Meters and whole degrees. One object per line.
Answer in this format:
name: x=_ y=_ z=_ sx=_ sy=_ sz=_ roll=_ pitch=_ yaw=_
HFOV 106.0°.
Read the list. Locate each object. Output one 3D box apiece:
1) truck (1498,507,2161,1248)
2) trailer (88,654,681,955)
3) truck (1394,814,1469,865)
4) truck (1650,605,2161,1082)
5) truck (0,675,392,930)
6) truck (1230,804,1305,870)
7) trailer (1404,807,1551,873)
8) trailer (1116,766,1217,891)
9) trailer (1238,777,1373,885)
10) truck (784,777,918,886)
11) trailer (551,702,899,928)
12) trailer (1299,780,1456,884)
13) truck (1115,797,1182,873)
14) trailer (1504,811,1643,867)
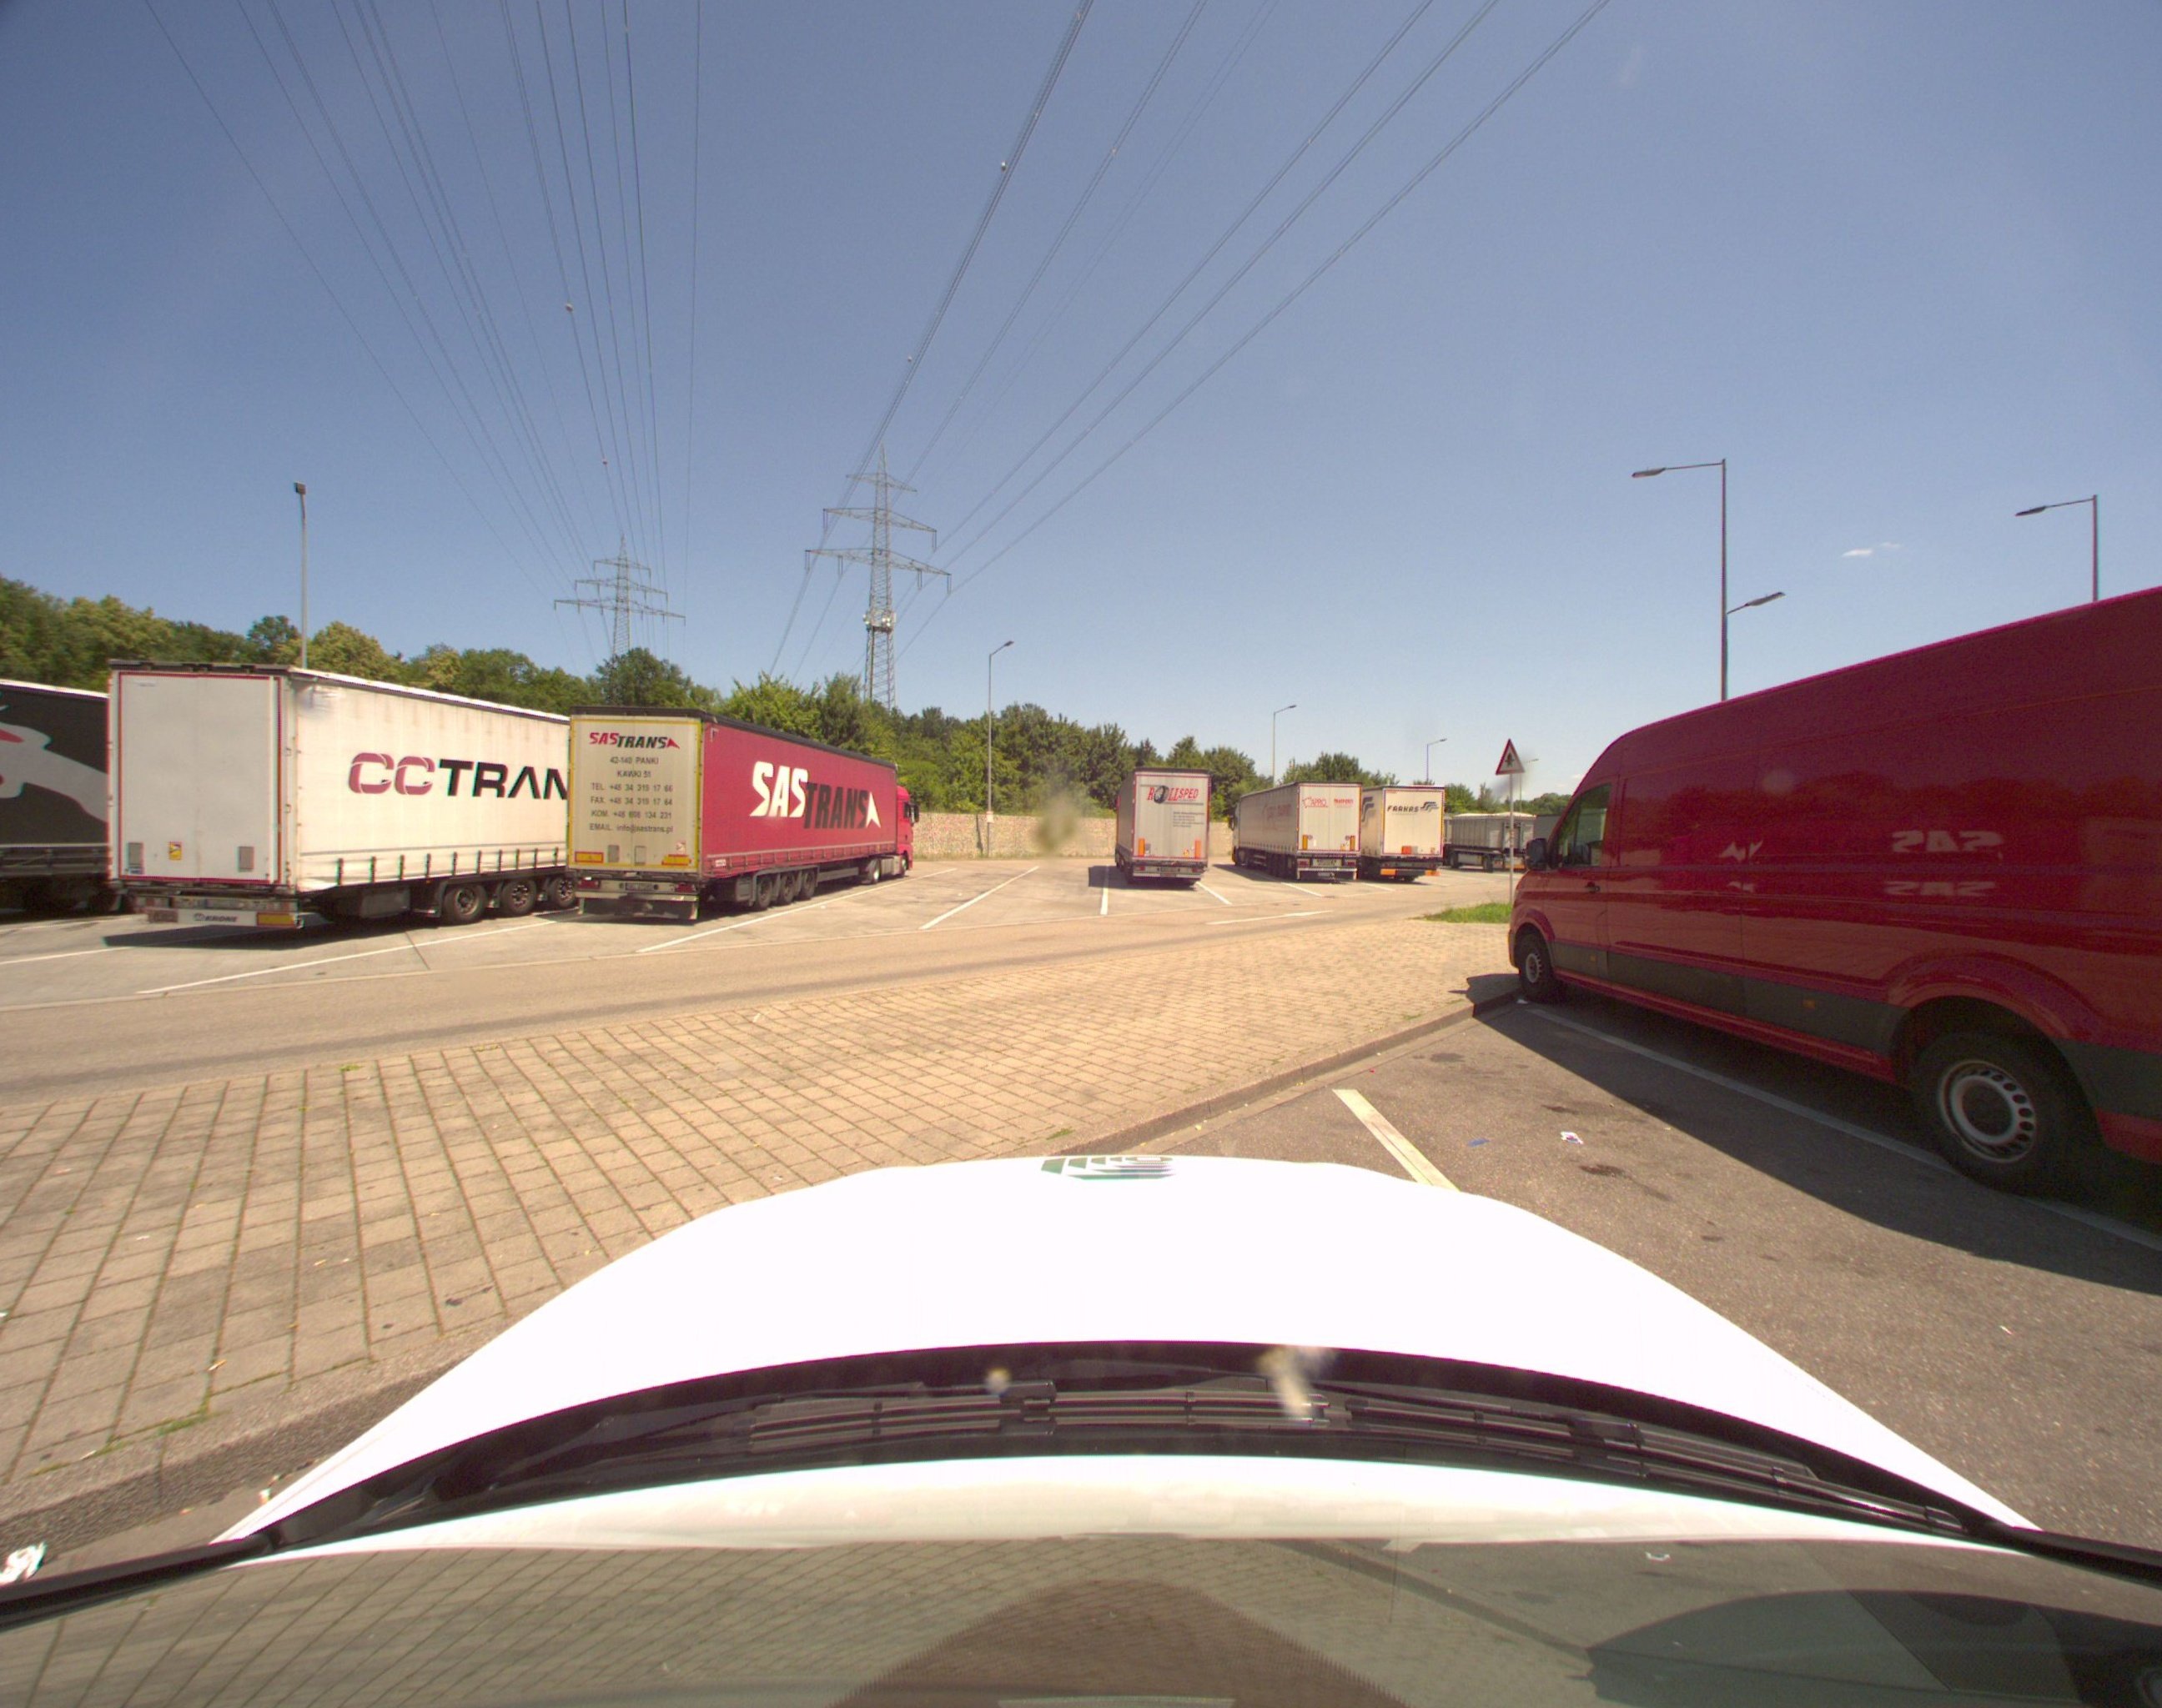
truck: x=5.148 y=0.080 z=5.451 sx=2.001 sy=2.651 sz=6.466 roll=-1 pitch=0 yaw=6
trailer: x=-12.155 y=-0.839 z=16.421 sx=2.696 sy=4.101 sz=10.395 roll=1 pitch=2 yaw=2
truck: x=24.633 y=-1.076 z=57.594 sx=2.855 sy=3.362 sz=5.977 roll=1 pitch=2 yaw=2
truck: x=8.007 y=-0.070 z=6.883 sx=2.406 sy=2.906 sz=6.466 roll=-1 pitch=0 yaw=6
truck: x=-18.544 y=-0.936 z=15.828 sx=2.696 sy=4.070 sz=8.694 roll=1 pitch=2 yaw=2
truck: x=10.184 y=-0.973 z=45.062 sx=2.855 sy=3.362 sz=5.977 roll=1 pitch=2 yaw=2
trailer: x=24.447 y=-0.989 z=51.497 sx=2.847 sy=3.599 sz=13.770 roll=1 pitch=2 yaw=2
trailer: x=3.054 y=-1.045 z=33.207 sx=2.848 sy=3.971 sz=13.767 roll=1 pitch=2 yaw=1
trailer: x=9.986 y=-1.116 z=38.298 sx=2.847 sy=4.109 sz=13.770 roll=1 pitch=2 yaw=2
truck: x=-7.826 y=-0.791 z=28.542 sx=2.801 sy=3.362 sz=5.977 roll=1 pitch=2 yaw=2
trailer: x=-8.041 y=-0.925 z=21.725 sx=2.811 sy=4.070 sz=13.770 roll=1 pitch=2 yaw=2
trailer: x=13.614 y=-1.090 z=39.222 sx=2.847 sy=4.109 sz=13.770 roll=1 pitch=2 yaw=2
truck: x=3.145 y=-0.935 z=39.409 sx=2.855 sy=3.362 sz=5.977 roll=1 pitch=2 yaw=2
trailer: x=38.227 y=-1.289 z=64.178 sx=2.847 sy=3.904 sz=13.770 roll=1 pitch=2 yaw=2
